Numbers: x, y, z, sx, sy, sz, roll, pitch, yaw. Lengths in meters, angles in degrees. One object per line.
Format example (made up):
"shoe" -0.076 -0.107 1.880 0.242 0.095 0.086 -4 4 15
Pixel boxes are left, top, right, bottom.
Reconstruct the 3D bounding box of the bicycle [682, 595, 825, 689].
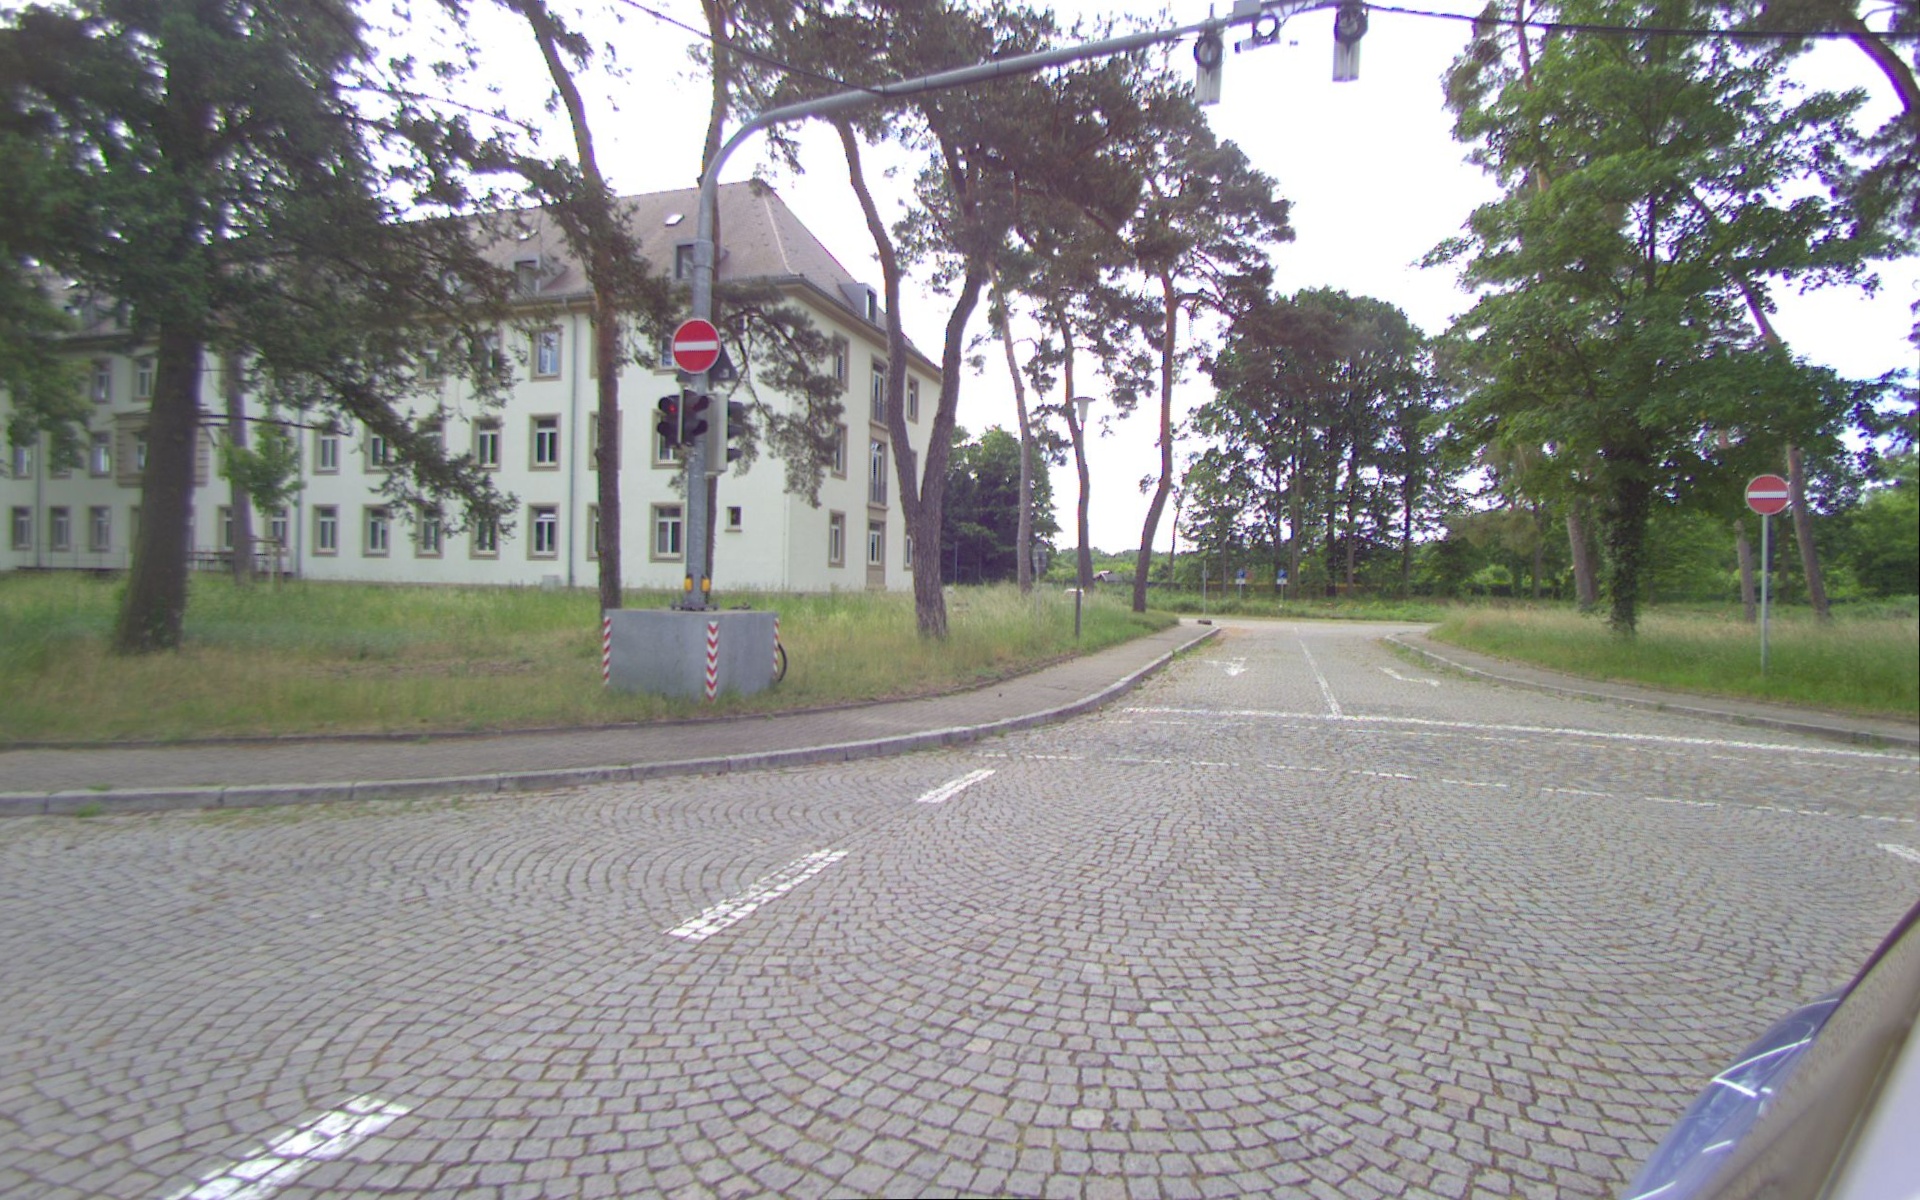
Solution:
"bicycle" -2.525 0.482 12.335 1.659 0.982 0.578 3 3 23

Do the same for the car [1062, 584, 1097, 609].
"car" 7.289 -0.227 61.511 1.469 1.455 3.175 1 0 19
